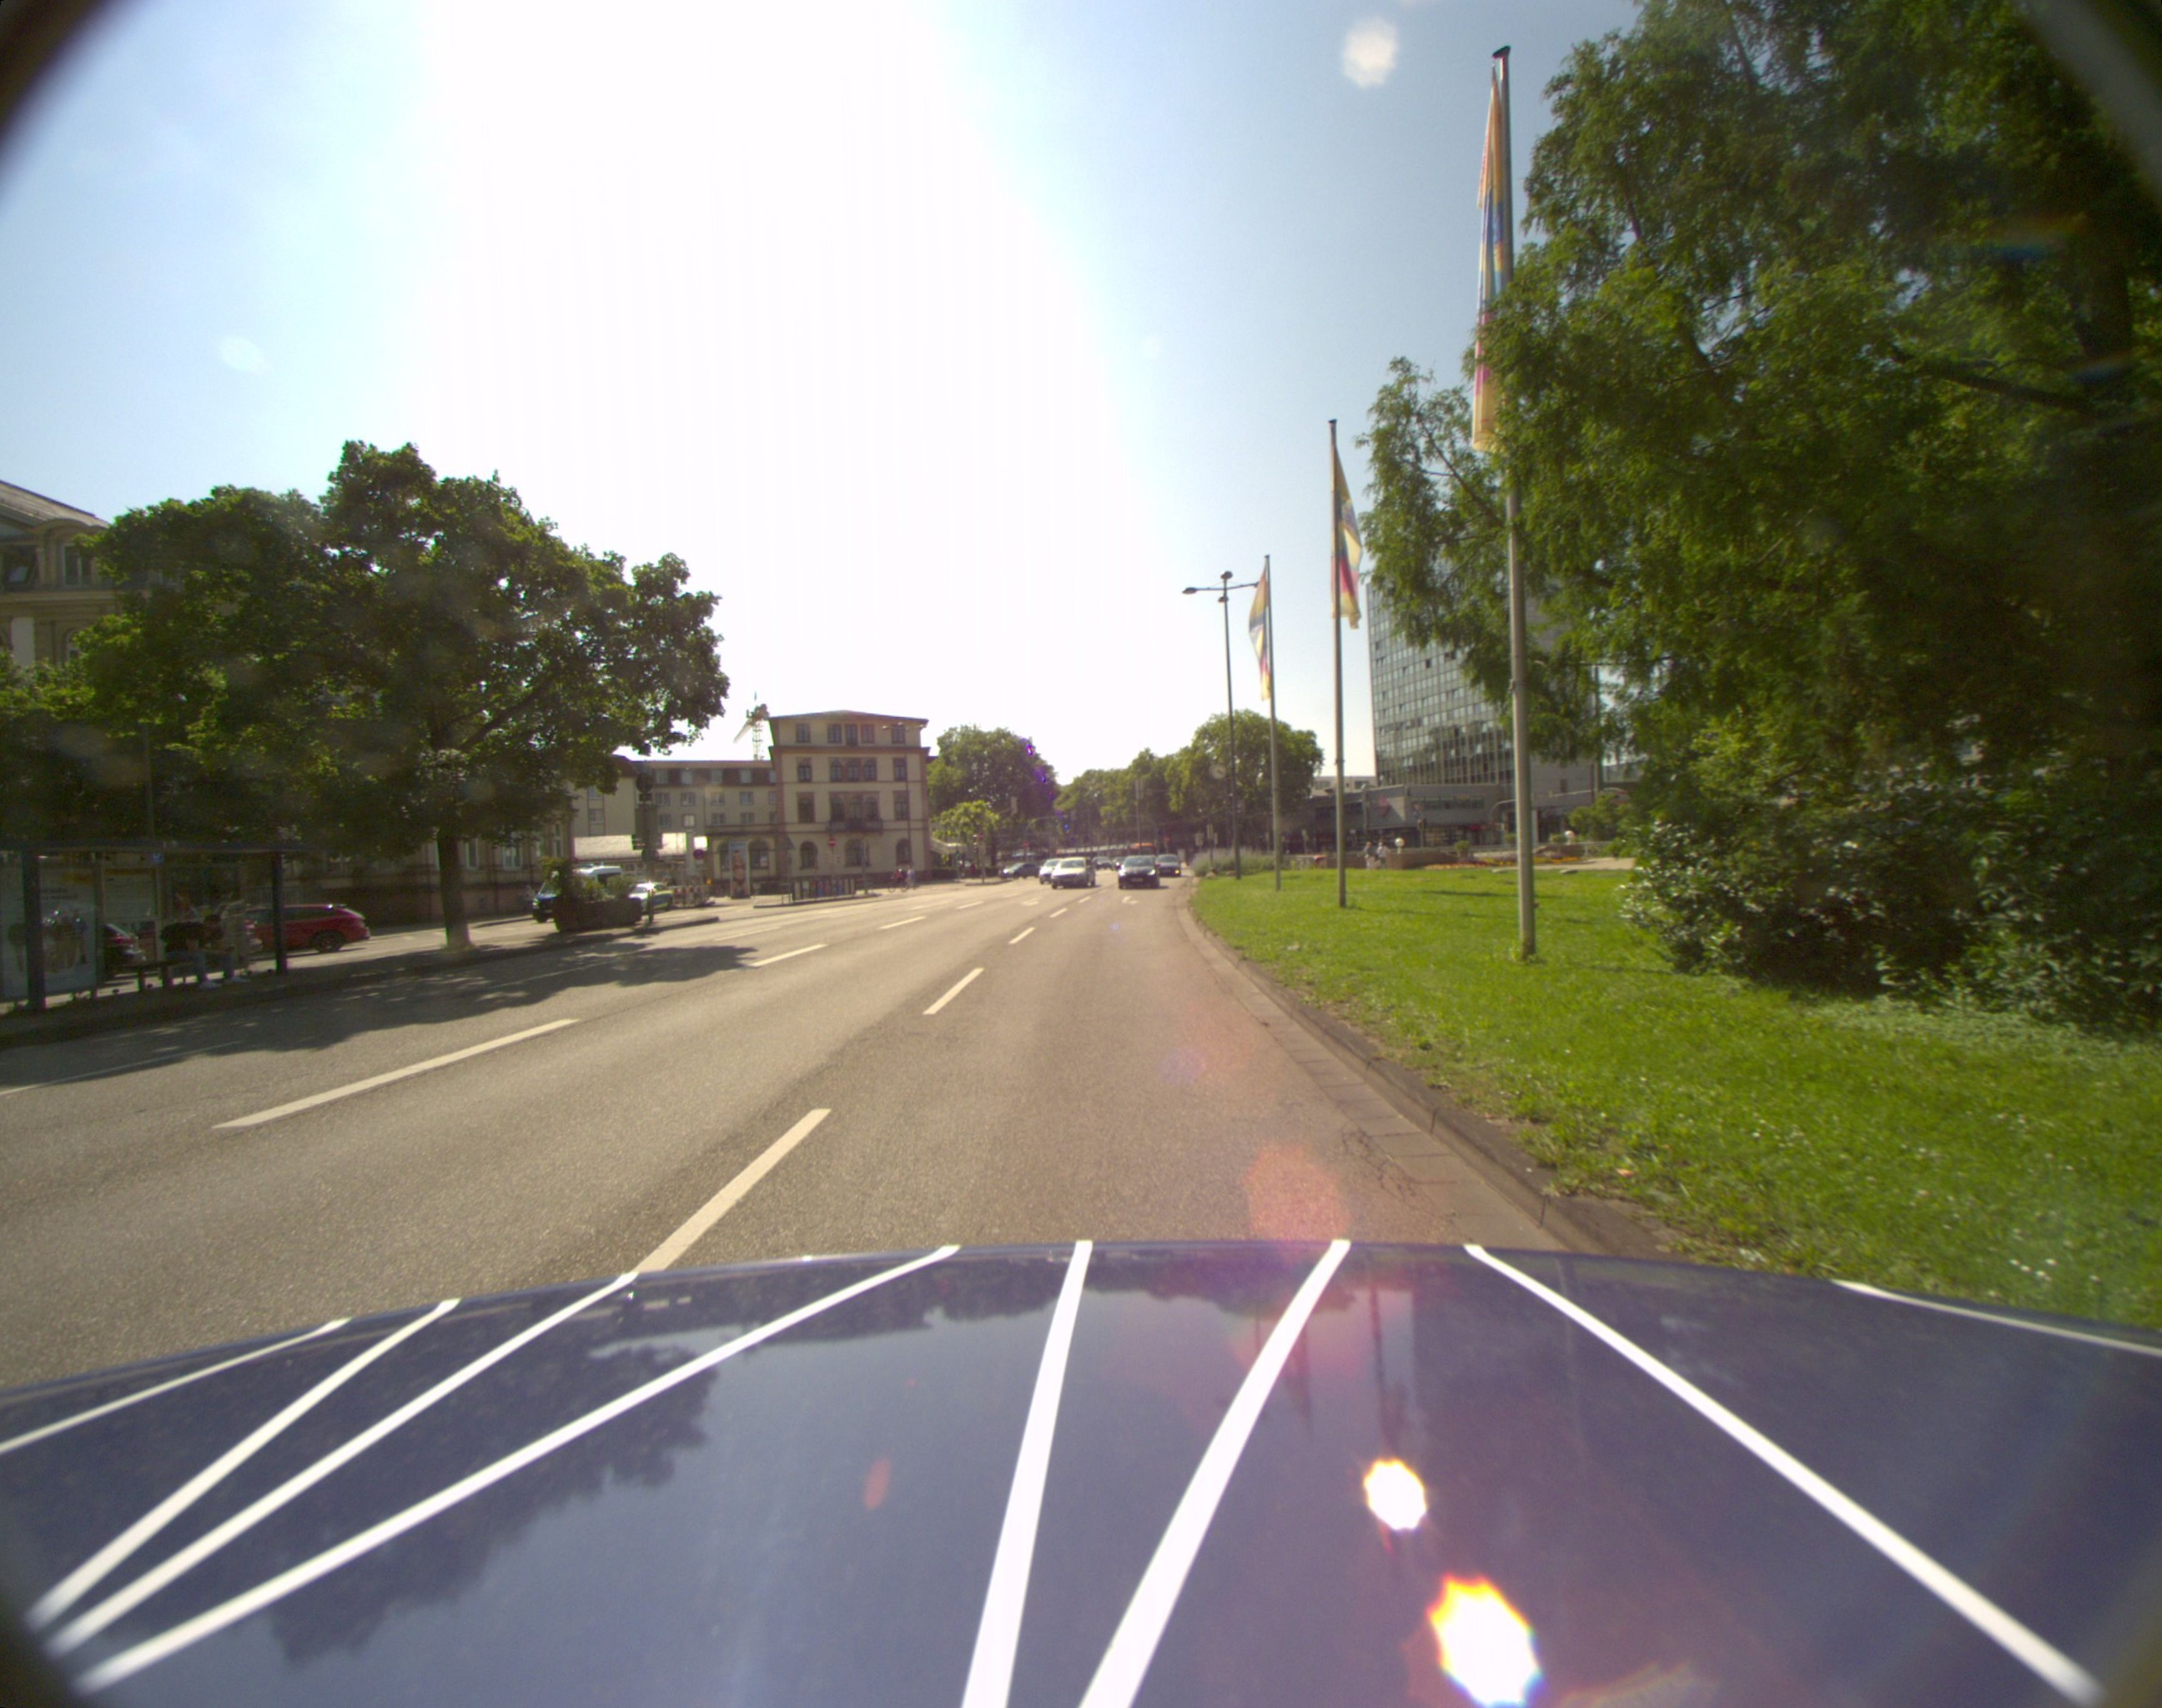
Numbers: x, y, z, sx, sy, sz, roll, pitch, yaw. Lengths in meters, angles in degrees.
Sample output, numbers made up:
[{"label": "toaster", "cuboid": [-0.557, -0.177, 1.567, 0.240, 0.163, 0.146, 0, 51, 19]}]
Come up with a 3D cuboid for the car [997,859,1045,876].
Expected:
[{"label": "car", "cuboid": [-5.338, 1.188, 68.019, 3.982, 1.443, 1.787, -1, 0, -43]}]

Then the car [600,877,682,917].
[{"label": "car", "cuboid": [-21.086, 2.011, 36.658, 1.822, 1.617, 4.875, -3, 0, -11]}]

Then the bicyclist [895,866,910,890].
[{"label": "bicyclist", "cuboid": [-12.046, 1.618, 51.338, 0.592, 1.597, 0.685, -2, 1, 38]}]

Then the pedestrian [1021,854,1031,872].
[{"label": "pedestrian", "cuboid": [-5.843, 0.985, 80.691, 0.730, 1.834, 0.590, -3, 1, -43]}]

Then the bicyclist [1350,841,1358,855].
[{"label": "bicyclist", "cuboid": [33.716, -0.774, 93.886, 0.684, 1.677, 0.583, -3, 1, -16]}]

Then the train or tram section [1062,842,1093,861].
[{"label": "train or tram section", "cuboid": [-0.745, -0.388, 138.424, 2.737, 3.248, 8.723, -3, 0, -21]}]

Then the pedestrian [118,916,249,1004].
[{"label": "pedestrian", "cuboid": [-14.043, 1.637, 11.926, 1.022, 1.190, 0.790, -3, 0, -21]}]

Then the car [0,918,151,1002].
[{"label": "car", "cuboid": [-21.387, 2.165, 14.903, 1.601, 1.409, 3.828, -3, 0, 43]}]

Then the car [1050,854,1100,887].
[{"label": "car", "cuboid": [-0.225, 0.797, 37.494, 1.718, 1.491, 4.494, -2, -1, 9]}]

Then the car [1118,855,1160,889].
[{"label": "car", "cuboid": [2.747, 0.775, 35.430, 1.790, 1.443, 4.282, -1, 0, 6]}]

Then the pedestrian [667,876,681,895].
[{"label": "pedestrian", "cuboid": [-36.333, 2.820, 67.853, 0.724, 1.594, 0.719, -3, 0, -1]}]

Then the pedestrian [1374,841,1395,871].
[{"label": "pedestrian", "cuboid": [16.049, 0.111, 40.209, 0.851, 1.501, 0.475, -3, 1, -8]}]

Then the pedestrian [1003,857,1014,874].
[{"label": "pedestrian", "cuboid": [-7.202, 1.132, 75.313, 0.845, 1.685, 0.743, -3, 1, -21]}]

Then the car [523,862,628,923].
[{"label": "car", "cuboid": [-23.806, 1.718, 36.067, 2.000, 2.588, 5.314, -3, 0, -10]}]

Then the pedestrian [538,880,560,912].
[{"label": "pedestrian", "cuboid": [-29.311, 2.309, 41.888, 0.702, 1.741, 0.721, -3, 1, -13]}]

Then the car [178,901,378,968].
[{"label": "car", "cuboid": [-22.545, 2.203, 21.494, 1.744, 1.410, 3.708, -3, 0, 43]}]

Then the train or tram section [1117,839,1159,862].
[{"label": "train or tram section", "cuboid": [8.485, -0.476, 113.788, 2.737, 3.248, 8.723, -3, 0, -21]}]

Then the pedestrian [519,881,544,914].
[{"label": "pedestrian", "cuboid": [-30.169, 2.368, 41.724, 0.821, 1.730, 0.750, -3, 1, -12]}]

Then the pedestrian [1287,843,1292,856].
[{"label": "pedestrian", "cuboid": [26.573, -0.536, 96.679, 0.564, 1.628, 0.600, -2, 1, 14]}]

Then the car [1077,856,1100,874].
[{"label": "car", "cuboid": [0.674, 0.953, 67.005, 1.790, 1.503, 4.281, -1, 0, 3]}]

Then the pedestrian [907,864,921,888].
[{"label": "pedestrian", "cuboid": [-11.996, 1.559, 54.557, 0.753, 1.650, 0.829, -3, 0, -1]}]

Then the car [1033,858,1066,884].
[{"label": "car", "cuboid": [-1.918, 1.013, 46.767, 1.791, 1.443, 3.974, -1, 0, 0]}]

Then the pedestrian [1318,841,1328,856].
[{"label": "pedestrian", "cuboid": [29.821, -0.699, 93.643, 0.824, 1.825, 0.734, -2, 1, -20]}]

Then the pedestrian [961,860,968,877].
[{"label": "pedestrian", "cuboid": [-11.494, 1.421, 75.169, 0.535, 1.639, 0.673, -3, 1, -17]}]

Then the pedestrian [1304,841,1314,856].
[{"label": "pedestrian", "cuboid": [27.931, -0.667, 93.020, 0.824, 1.825, 0.670, -2, 1, -21]}]

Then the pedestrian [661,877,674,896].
[{"label": "pedestrian", "cuboid": [-36.547, 2.836, 67.115, 0.724, 1.594, 0.719, -3, 0, -2]}]

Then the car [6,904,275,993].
[{"label": "car", "cuboid": [-22.329, 2.166, 18.321, 1.745, 1.566, 3.885, -3, 0, 43]}]

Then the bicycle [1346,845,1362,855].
[{"label": "bicycle", "cuboid": [33.732, -0.492, 93.881, 1.970, 1.096, 0.576, -3, 0, -16]}]

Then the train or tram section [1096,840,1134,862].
[{"label": "train or tram section", "cuboid": [5.421, -0.447, 121.922, 2.737, 3.248, 8.723, -3, 0, -21]}]

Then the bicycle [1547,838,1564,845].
[{"label": "bicycle", "cuboid": [58.171, -1.532, 93.165, 1.811, 0.878, 0.592, -3, 2, -9]}]

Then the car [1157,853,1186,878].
[{"label": "car", "cuboid": [5.930, 0.732, 50.064, 1.790, 1.484, 4.090, -1, 0, 6]}]

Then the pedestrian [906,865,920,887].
[{"label": "pedestrian", "cuboid": [-12.356, 1.614, 55.868, 0.773, 1.563, 0.829, -3, 0, 0]}]

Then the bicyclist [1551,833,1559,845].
[{"label": "bicyclist", "cuboid": [58.121, -1.849, 93.155, 0.684, 1.518, 0.582, -3, 2, -9]}]

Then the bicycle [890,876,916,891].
[{"label": "bicycle", "cuboid": [-12.027, 1.997, 51.354, 0.592, 0.850, 1.748, -3, 0, 37]}]

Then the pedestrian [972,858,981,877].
[{"label": "pedestrian", "cuboid": [-10.134, 1.299, 73.871, 0.726, 1.795, 0.652, -3, 1, -13]}]

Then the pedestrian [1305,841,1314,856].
[{"label": "pedestrian", "cuboid": [28.254, -0.678, 94.050, 0.824, 1.825, 0.670, -2, 1, -21]}]

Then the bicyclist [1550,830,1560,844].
[{"label": "bicyclist", "cuboid": [59.293, -2.089, 95.039, 0.684, 1.758, 0.696, -3, 2, -3]}]

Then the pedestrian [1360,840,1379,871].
[{"label": "pedestrian", "cuboid": [15.280, 0.095, 40.209, 0.692, 1.584, 0.599, -3, 1, -8]}]

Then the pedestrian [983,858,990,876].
[{"label": "pedestrian", "cuboid": [-9.168, 1.265, 73.818, 0.535, 1.639, 0.579, -3, 1, -17]}]
